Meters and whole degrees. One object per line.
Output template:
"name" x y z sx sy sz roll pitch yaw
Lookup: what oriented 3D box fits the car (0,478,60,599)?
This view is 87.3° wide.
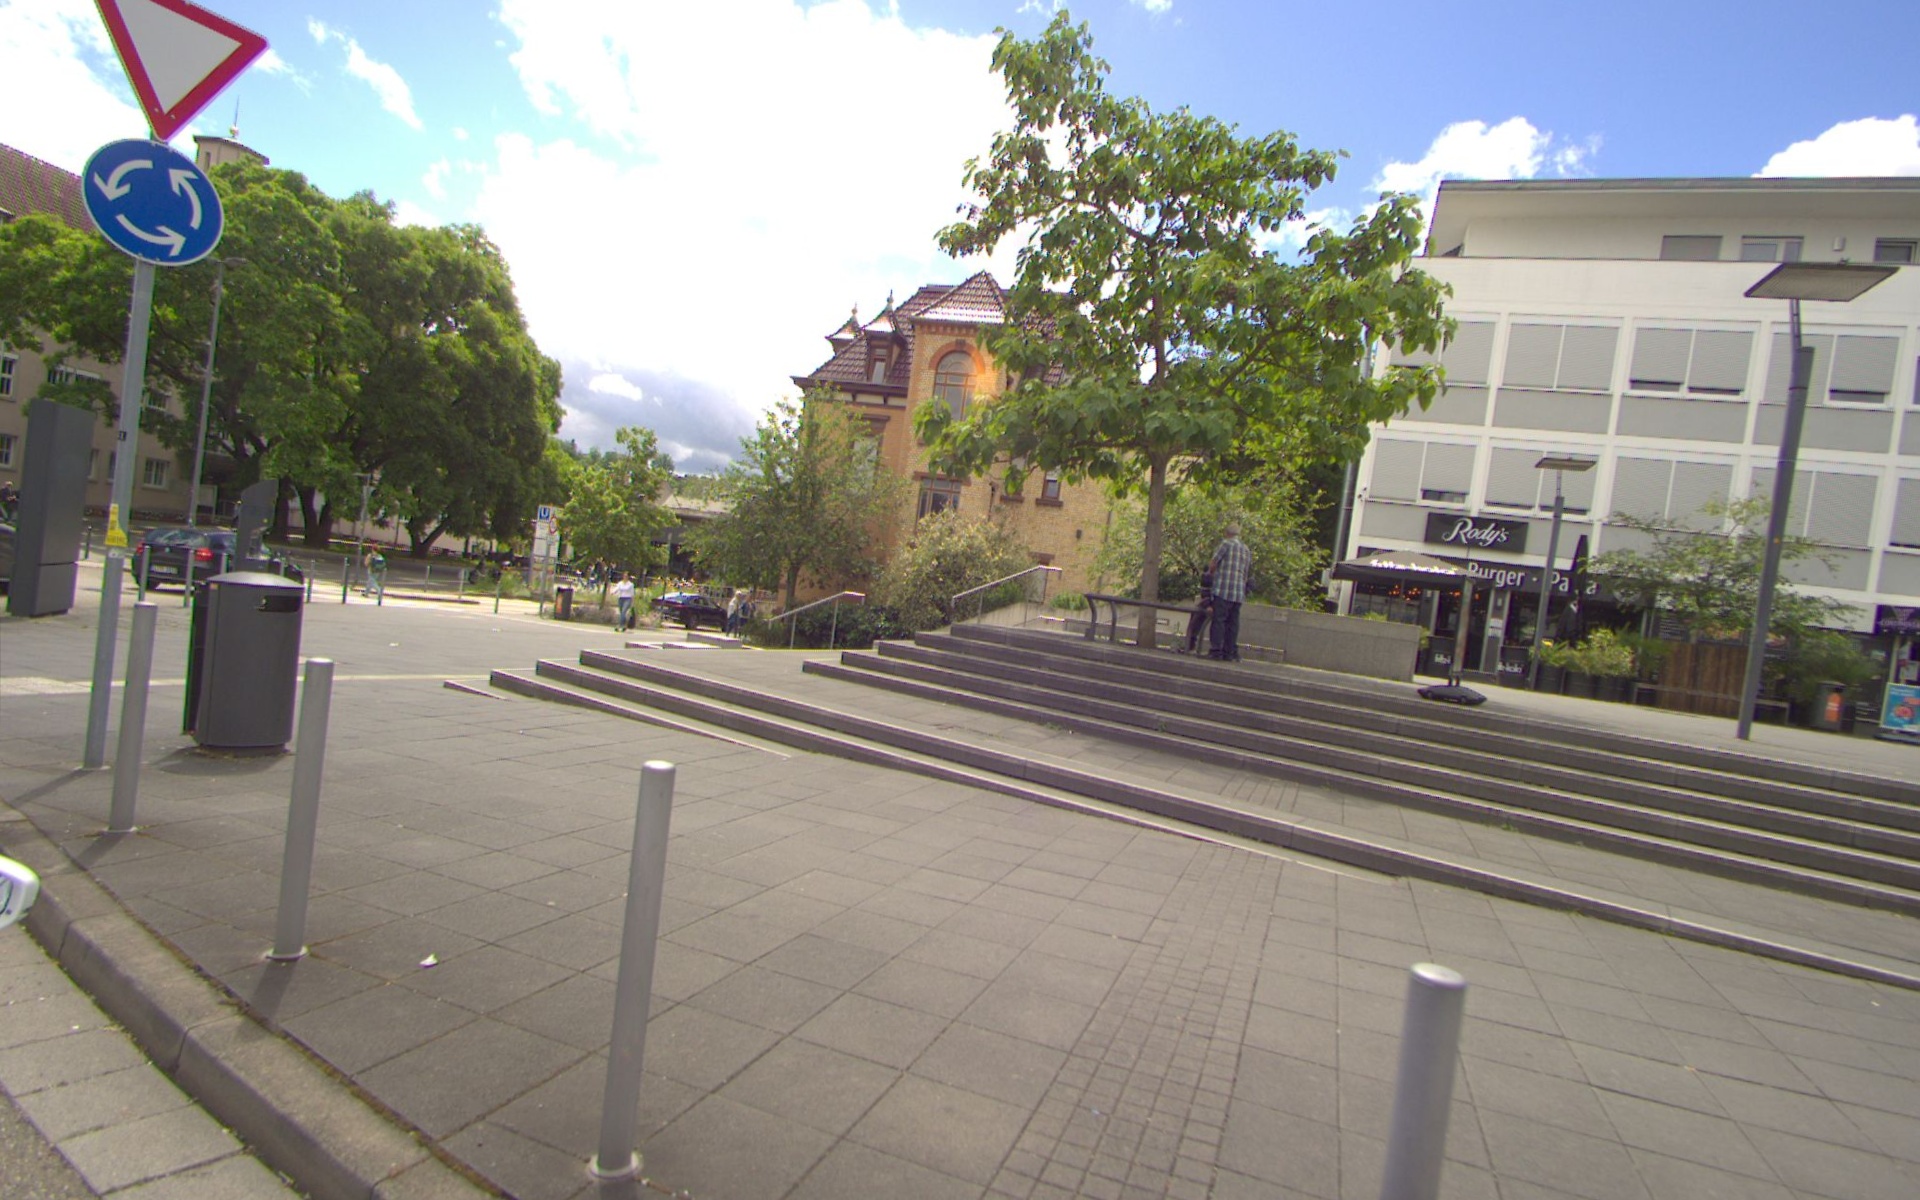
"car" -14.605 -1.015 13.766 2.010 1.747 4.406 9 -1 -25

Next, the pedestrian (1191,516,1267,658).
"pedestrian" 3.037 -0.147 11.390 0.496 1.527 0.453 7 1 -12

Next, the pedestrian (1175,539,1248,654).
"pedestrian" 3.040 -0.040 12.151 0.630 1.301 0.363 8 2 31

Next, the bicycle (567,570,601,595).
"bicycle" -18.986 -0.891 50.806 1.587 1.009 0.500 8 0 21

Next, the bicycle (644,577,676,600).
"bicycle" -17.136 -0.661 57.459 1.543 1.104 0.578 8 0 15

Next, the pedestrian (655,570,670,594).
"pedestrian" -19.693 -1.212 66.568 0.572 1.481 0.616 7 0 23

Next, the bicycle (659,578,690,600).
"bicycle" -16.710 -0.636 58.958 1.543 1.104 0.578 8 0 15

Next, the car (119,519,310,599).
"car" -16.341 -0.832 22.305 1.586 1.399 3.832 7 -1 -7

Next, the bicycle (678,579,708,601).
"bicycle" -16.136 -0.600 60.751 1.543 1.104 0.578 8 0 15

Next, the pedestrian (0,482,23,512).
"pedestrian" -41.598 -4.513 44.110 0.483 1.196 0.576 8 -1 -28

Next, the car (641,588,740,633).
"car" -10.925 0.475 41.128 1.827 1.422 4.378 7 -2 15

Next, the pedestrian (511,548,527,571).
"pedestrian" -33.631 -3.089 76.712 0.773 1.647 0.637 7 0 13

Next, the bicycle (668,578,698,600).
"bicycle" -16.470 -0.657 59.877 1.543 1.104 0.578 8 0 15

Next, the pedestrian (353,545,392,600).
"pedestrian" -17.788 -0.836 30.464 0.774 1.534 0.551 10 3 27

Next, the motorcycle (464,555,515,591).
"motorcycle" -21.085 -1.218 45.089 2.099 1.306 0.583 9 3 16

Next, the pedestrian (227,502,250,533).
"pedestrian" -39.057 -4.460 54.448 0.803 1.510 0.698 7 -1 41

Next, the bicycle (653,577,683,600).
"bicycle" -16.888 -0.653 58.190 1.543 1.082 0.539 8 0 15

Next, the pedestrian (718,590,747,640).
"pedestrian" -7.923 0.532 35.073 0.550 1.649 0.670 7 -1 -41

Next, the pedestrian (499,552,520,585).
"pedestrian" -23.095 -1.610 51.588 0.572 1.596 0.616 7 0 4

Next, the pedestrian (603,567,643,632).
"pedestrian" -9.635 0.000 28.783 0.694 1.767 0.776 7 0 -3

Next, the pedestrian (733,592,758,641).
"pedestrian" -7.622 0.590 35.724 0.497 1.649 0.510 6 -1 27
